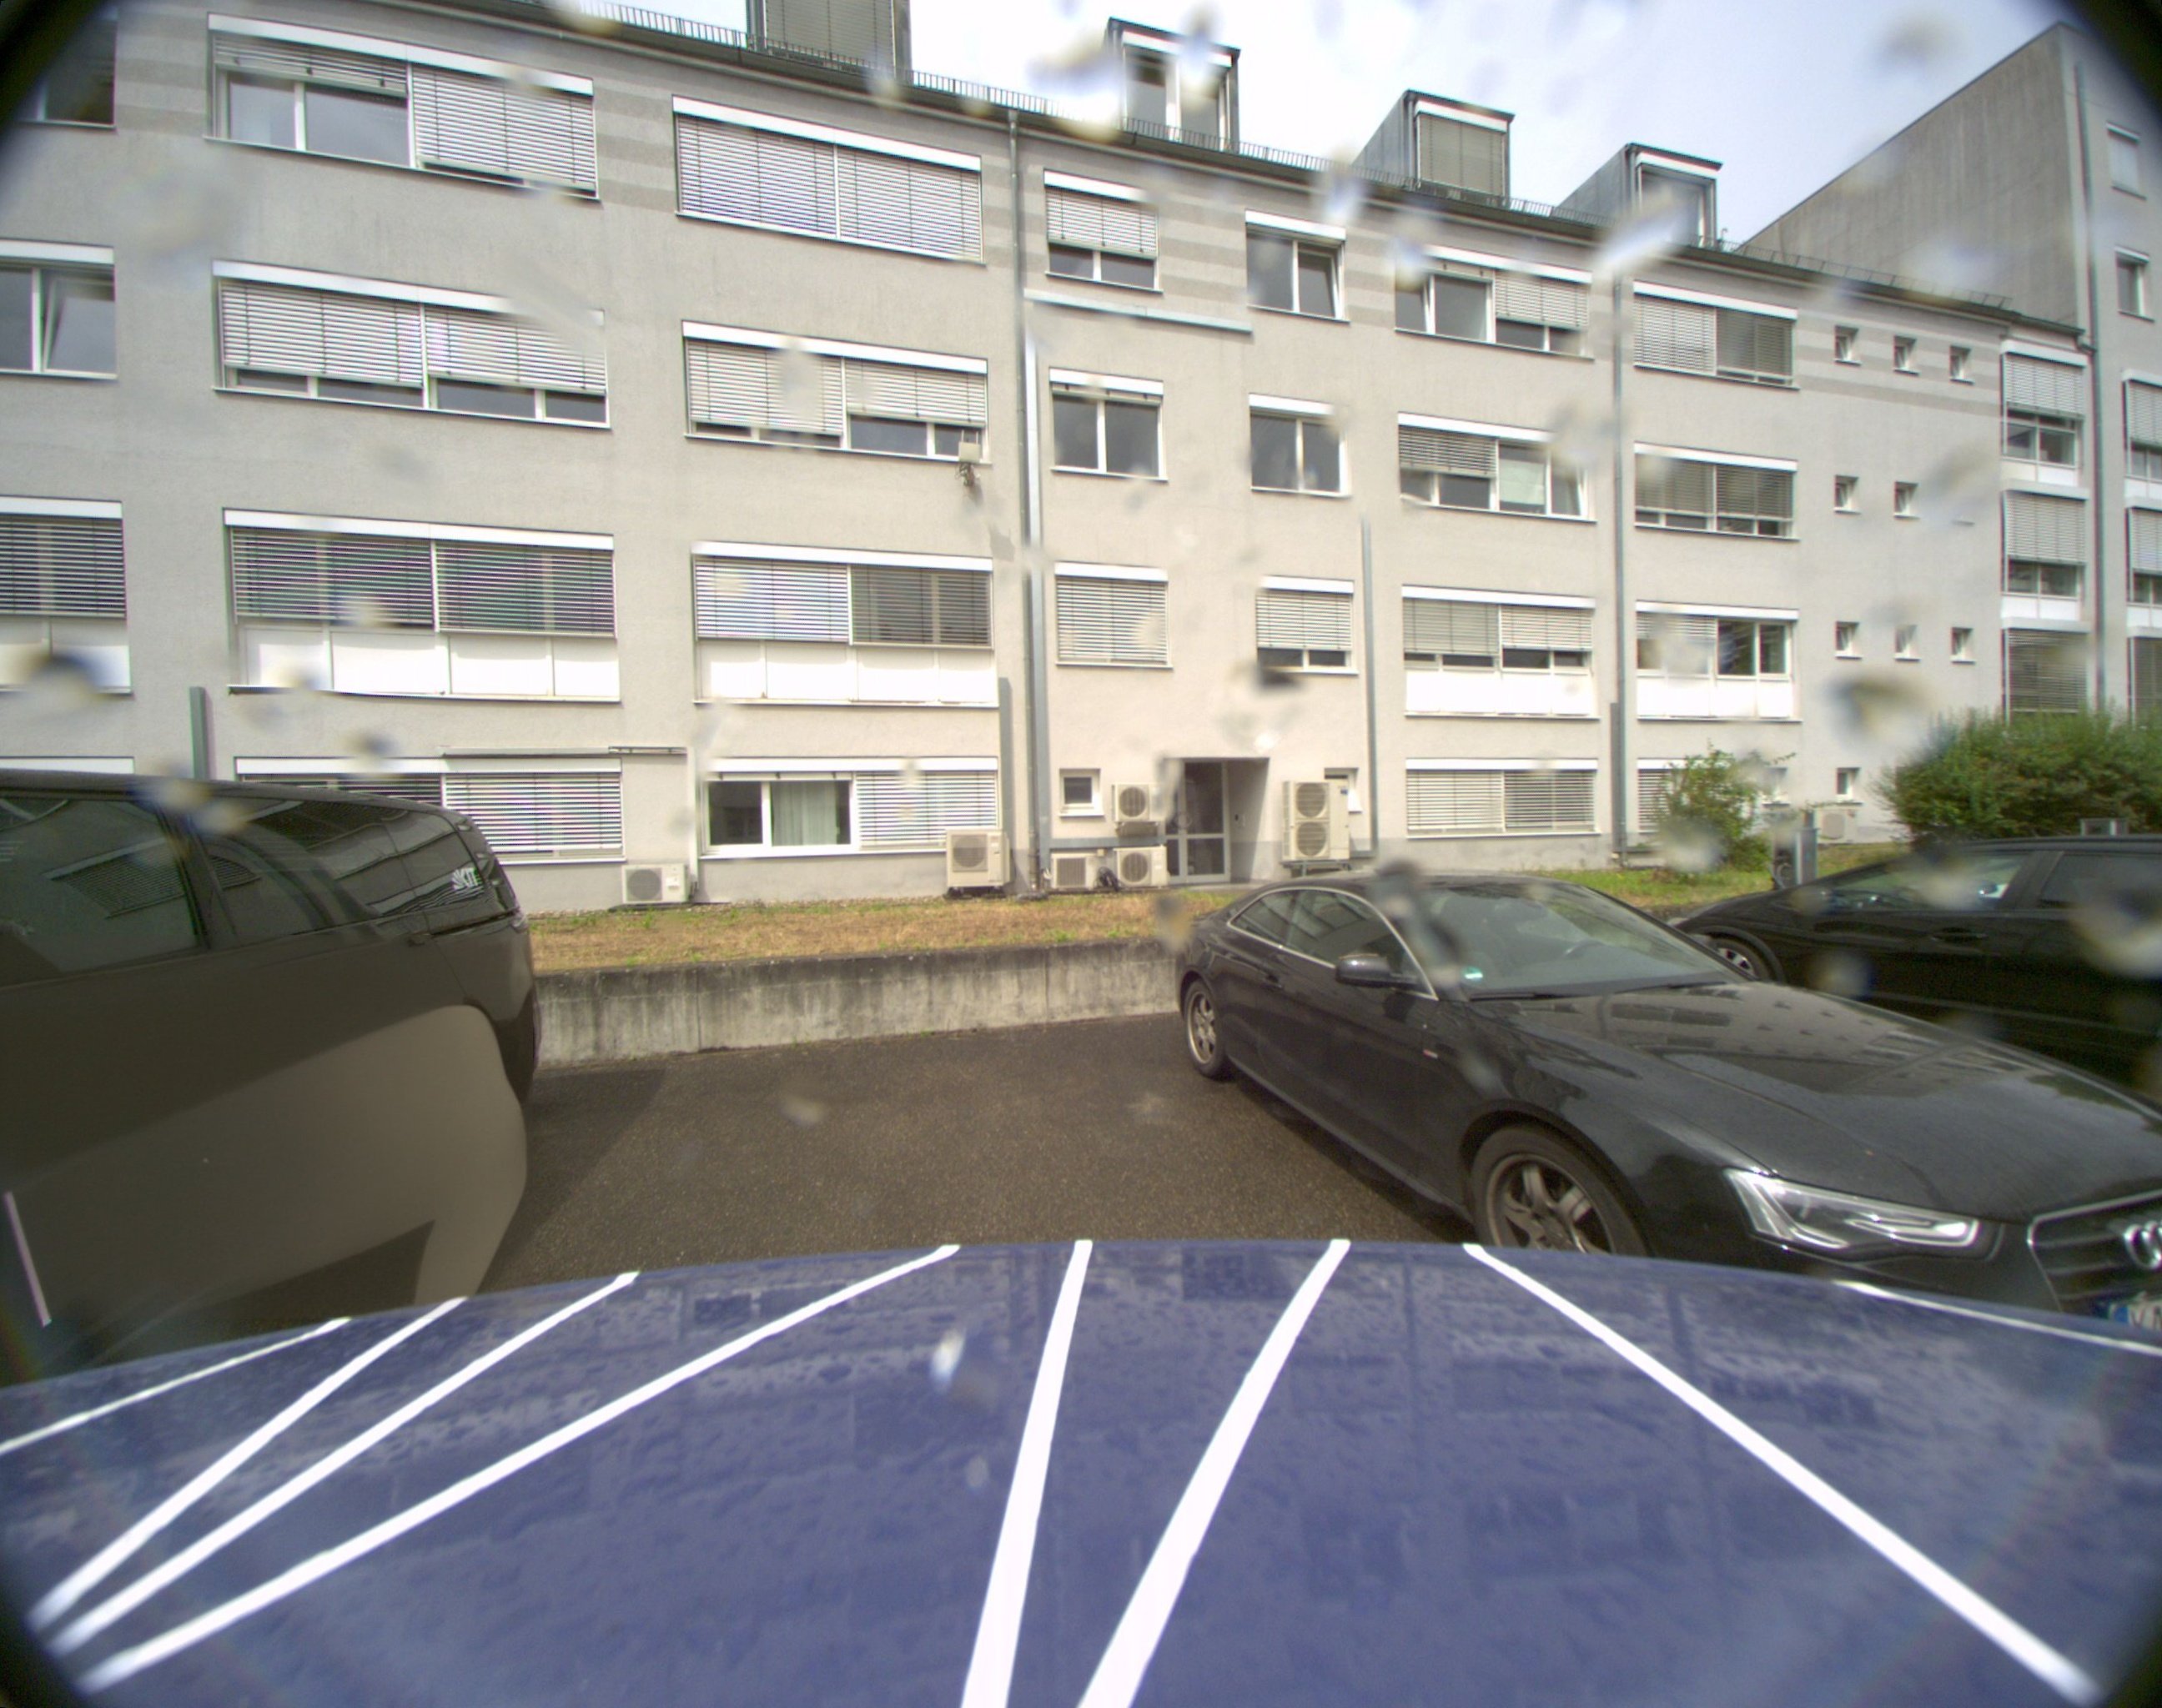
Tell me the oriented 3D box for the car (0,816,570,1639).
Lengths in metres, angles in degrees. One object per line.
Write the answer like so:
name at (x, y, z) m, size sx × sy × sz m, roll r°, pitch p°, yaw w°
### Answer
car at (-3.617, 0.858, 2.218) m, size 1.971 × 1.854 × 4.741 m, roll -2°, pitch 2°, yaw -14°

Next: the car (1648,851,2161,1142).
car at (6.403, 0.762, 4.850) m, size 1.764 × 1.434 × 4.309 m, roll -2°, pitch 2°, yaw -14°

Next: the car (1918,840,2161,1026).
car at (9.650, 0.647, 5.771) m, size 1.697 × 1.434 × 4.120 m, roll -2°, pitch 2°, yaw -13°

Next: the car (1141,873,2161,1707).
car at (1.841, 0.904, 3.654) m, size 1.764 × 1.344 × 4.523 m, roll -2°, pitch 2°, yaw -13°
